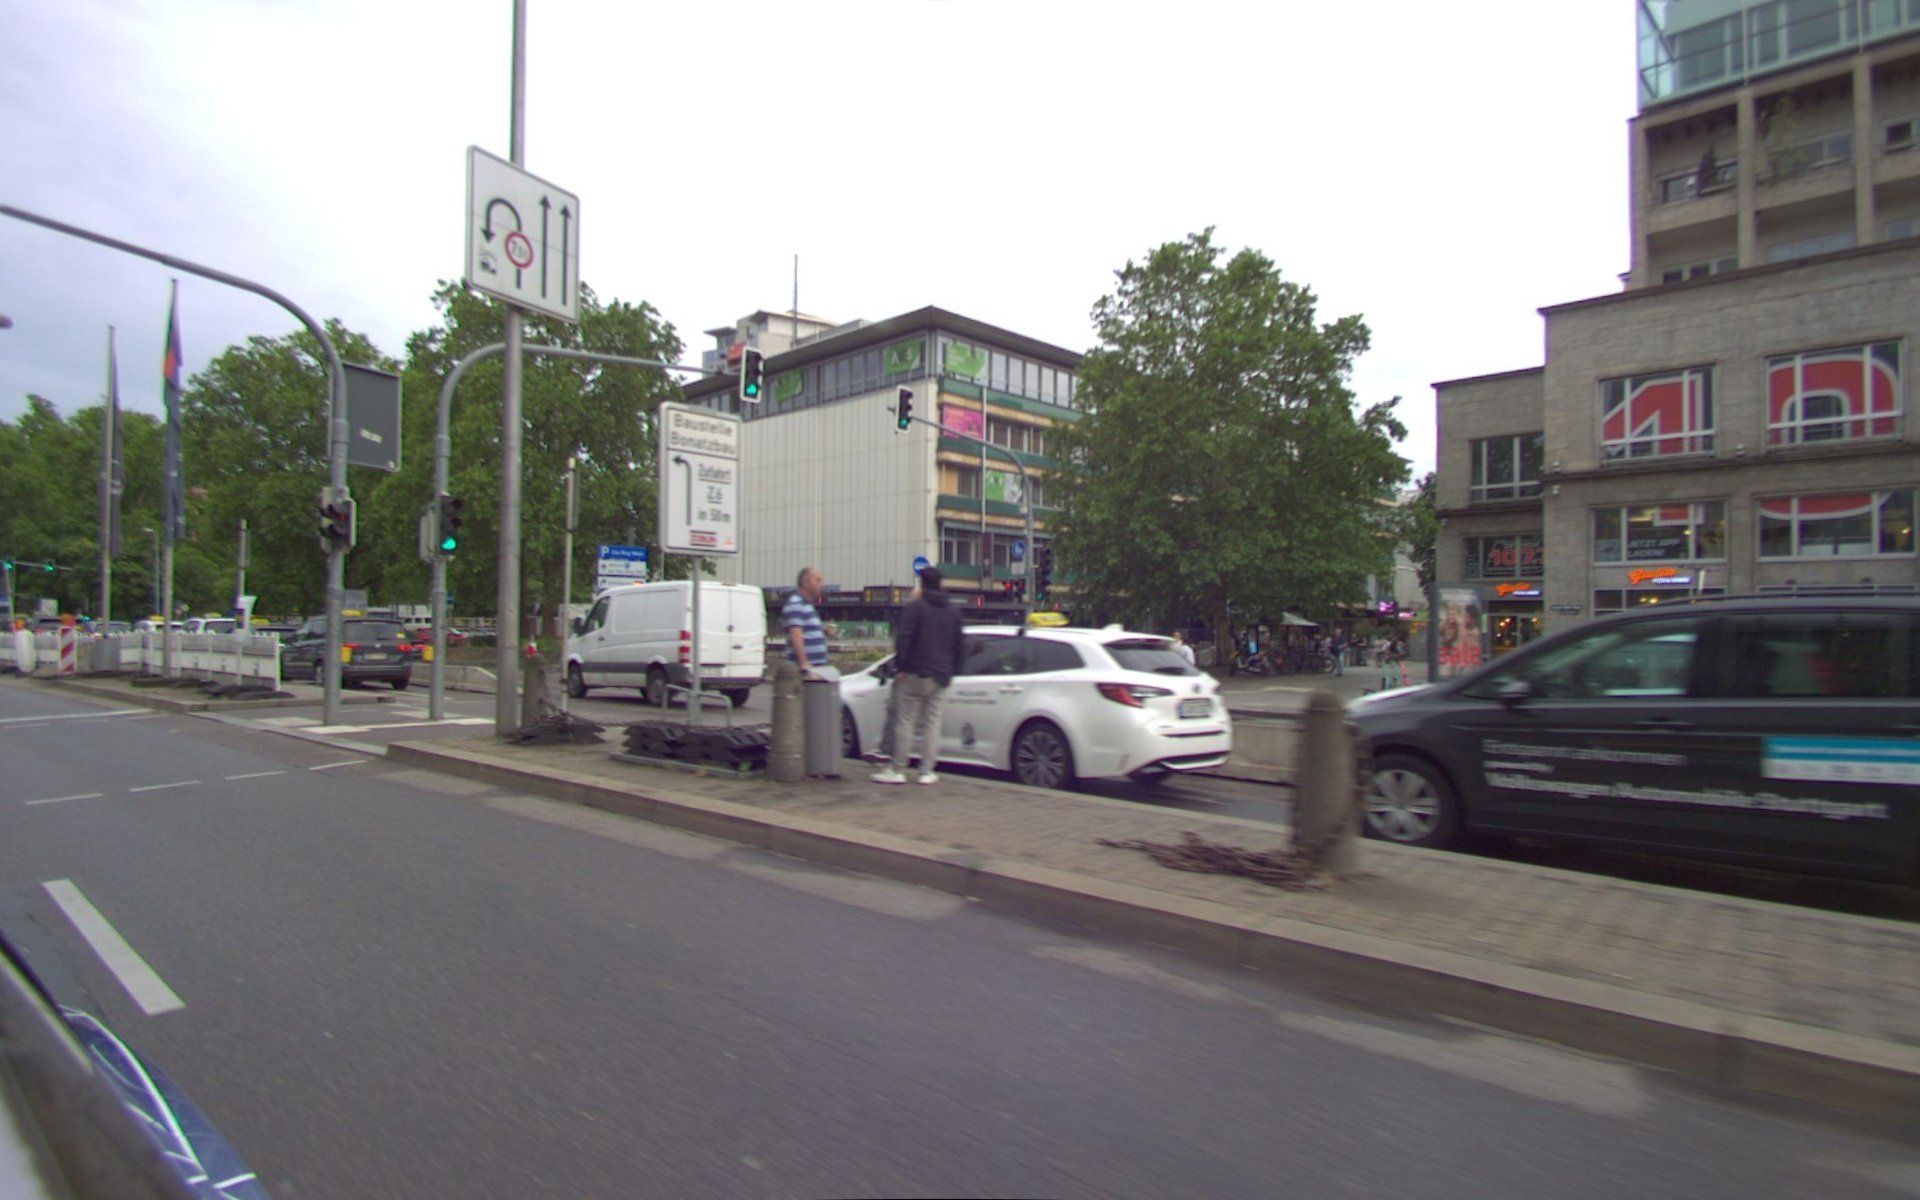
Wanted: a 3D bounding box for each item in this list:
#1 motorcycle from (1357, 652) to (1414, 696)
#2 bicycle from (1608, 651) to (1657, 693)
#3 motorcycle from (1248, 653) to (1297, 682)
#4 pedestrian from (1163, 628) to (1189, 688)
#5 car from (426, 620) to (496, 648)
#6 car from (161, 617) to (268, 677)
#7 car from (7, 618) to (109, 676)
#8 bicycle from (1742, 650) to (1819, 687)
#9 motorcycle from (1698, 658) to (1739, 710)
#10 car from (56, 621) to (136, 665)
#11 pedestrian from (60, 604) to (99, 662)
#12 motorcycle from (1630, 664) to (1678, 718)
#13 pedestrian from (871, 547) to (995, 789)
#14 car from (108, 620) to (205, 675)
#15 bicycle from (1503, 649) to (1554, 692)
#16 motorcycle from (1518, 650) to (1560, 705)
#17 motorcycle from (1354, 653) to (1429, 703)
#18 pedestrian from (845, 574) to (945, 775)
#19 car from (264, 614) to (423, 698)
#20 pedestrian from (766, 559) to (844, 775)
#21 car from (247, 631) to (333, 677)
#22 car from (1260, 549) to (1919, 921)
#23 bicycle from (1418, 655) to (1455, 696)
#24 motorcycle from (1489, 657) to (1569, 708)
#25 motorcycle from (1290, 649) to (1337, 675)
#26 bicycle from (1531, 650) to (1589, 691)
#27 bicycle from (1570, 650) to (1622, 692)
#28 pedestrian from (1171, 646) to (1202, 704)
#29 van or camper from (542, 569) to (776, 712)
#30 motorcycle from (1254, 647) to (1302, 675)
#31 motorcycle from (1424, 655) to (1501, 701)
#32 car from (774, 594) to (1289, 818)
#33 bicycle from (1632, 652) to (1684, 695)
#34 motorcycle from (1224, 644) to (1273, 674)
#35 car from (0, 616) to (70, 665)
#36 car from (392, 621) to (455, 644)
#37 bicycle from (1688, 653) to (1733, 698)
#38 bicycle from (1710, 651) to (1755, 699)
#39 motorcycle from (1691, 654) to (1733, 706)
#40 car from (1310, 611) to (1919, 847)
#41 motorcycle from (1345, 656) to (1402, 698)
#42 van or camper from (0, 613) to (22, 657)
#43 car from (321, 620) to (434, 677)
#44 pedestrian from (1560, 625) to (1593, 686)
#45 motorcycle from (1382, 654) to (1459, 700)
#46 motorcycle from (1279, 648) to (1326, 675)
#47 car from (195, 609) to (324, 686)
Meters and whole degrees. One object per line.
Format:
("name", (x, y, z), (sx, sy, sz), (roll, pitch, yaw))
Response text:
("motorcycle", (11.897, 2.057, 28.339), (0.573, 1.142, 1.628), (-1, -1, -14))
("bicycle", (18.237, 1.938, 27.428), (1.591, 1.065, 0.426), (-1, -1, -30))
("motorcycle", (11.973, 2.591, 38.780), (1.716, 1.055, 0.525), (-2, -2, 41))
("pedestrian", (6.108, 1.645, 28.559), (0.606, 1.654, 0.525), (0, -4, 24))
("car", (-32.434, 2.185, 65.899), (3.684, 1.554, 1.856), (-2, 1, -9))
("car", (-23.196, 1.455, 31.425), (4.481, 1.735, 1.765), (-3, -4, 42))
("car", (-30.345, 1.585, 34.002), (4.809, 1.831, 1.972), (-3, -4, 42))
("bicycle", (20.231, 1.673, 24.989), (1.377, 0.857, 0.673), (-2, -1, 32))
("motorcycle", (16.992, 1.867, 22.703), (0.601, 1.065, 1.427), (-2, -1, 33))
("car", (-36.402, 1.793, 42.615), (4.418, 1.715, 1.871), (-2, -1, 40))
("pedestrian", (-31.144, 1.171, 35.803), (0.820, 2.029, 0.867), (-2, -2, 38))
("motorcycle", (16.255, 2.102, 23.685), (0.583, 1.143, 1.788), (-2, -2, 45))
("pedestrian", (-0.201, 0.529, 7.998), (0.604, 1.789, 0.776), (-1, -5, 32))
("car", (-29.186, 1.723, 36.715), (4.563, 1.866, 1.895), (-2, -3, 41))
("bicycle", (16.491, 2.036, 29.342), (1.464, 1.139, 0.682), (-1, -1, -34))
("motorcycle", (14.330, 1.899, 25.093), (0.692, 1.237, 1.939), (-2, -1, 24))
("motorcycle", (10.893, 1.957, 25.574), (0.574, 1.181, 1.626), (0, -1, -41))
("pedestrian", (-0.586, 0.646, 9.121), (0.593, 1.724, 0.644), (-2, -2, 42))
("car", (-14.206, 1.234, 23.217), (4.498, 1.712, 1.883), (-2, -1, 41))
("pedestrian", (-1.364, 0.580, 8.829), (0.550, 1.789, 0.754), (2, -4, -12))
("car", (-25.999, 2.074, 39.227), (3.801, 1.658, 1.815), (-2, -1, 40))
("car", (4.392, 0.678, 5.988), (4.683, 1.703, 1.908), (-1, -4, 43))
("bicycle", (14.430, 2.260, 30.629), (0.679, 1.139, 1.470), (-2, -1, 38))
("motorcycle", (13.240, 1.890, 23.603), (0.593, 1.065, 1.819), (-1, -1, -9))
("motorcycle", (14.565, 2.542, 41.722), (1.716, 1.055, 0.525), (-2, -2, 41))
("bicycle", (17.048, 1.990, 28.756), (1.591, 1.065, 0.708), (-1, -1, -30))
("bicycle", (17.662, 1.967, 28.107), (1.591, 1.065, 0.511), (-1, -1, -30))
("pedestrian", (6.324, 2.089, 28.206), (0.748, 1.584, 0.471), (0, -4, 26))
("van or camper", (-6.210, 0.848, 20.504), (5.369, 2.533, 1.972), (-2, -5, 42))
("motorcycle", (12.341, 2.358, 39.272), (1.716, 1.055, 0.525), (-2, -2, 41))
("motorcycle", (12.760, 1.968, 25.732), (0.574, 1.065, 1.627), (0, -1, -38))
("car", (0.444, 0.858, 9.814), (4.843, 1.633, 1.992), (-2, -3, 44))
("bicycle", (18.674, 1.950, 27.054), (1.591, 1.065, 0.499), (-1, -1, -31))
("motorcycle", (10.756, 2.194, 37.750), (1.716, 1.055, 0.525), (-2, -2, 41))
("car", (-36.095, 1.594, 39.095), (4.808, 1.784, 1.972), (-3, -4, 41))
("car", (-48.936, 2.946, 92.362), (4.759, 2.029, 2.038), (0, -2, -42))
("bicycle", (19.360, 1.924, 26.109), (1.592, 1.065, 0.457), (-1, -1, -36))
("bicycle", (19.639, 1.883, 25.722), (1.583, 1.118, 0.434), (-1, -1, -36))
("motorcycle", (17.150, 1.802, 23.092), (0.581, 1.065, 1.694), (-2, -1, 31))
("car", (5.986, 1.015, 9.597), (4.683, 1.703, 1.908), (-1, -4, 43))
("motorcycle", (11.326, 2.085, 27.784), (0.573, 1.051, 1.628), (-1, -1, -14))
("van or camper", (-42.462, 1.493, 43.646), (5.382, 1.833, 1.927), (-1, -4, 37))
("car", (-18.185, 1.524, 31.534), (4.042, 1.623, 1.795), (-2, -6, 41))
("pedestrian", (20.825, 1.852, 34.193), (0.820, 2.029, 0.867), (-2, -2, 38))
("motorcycle", (11.080, 1.839, 24.399), (0.470, 1.054, 1.626), (0, -1, -41))
("motorcycle", (13.834, 2.487, 40.940), (1.716, 1.055, 0.525), (-2, -2, 41))
("car", (-19.210, 1.268, 27.663), (4.521, 1.912, 1.883), (-2, -1, 41))
